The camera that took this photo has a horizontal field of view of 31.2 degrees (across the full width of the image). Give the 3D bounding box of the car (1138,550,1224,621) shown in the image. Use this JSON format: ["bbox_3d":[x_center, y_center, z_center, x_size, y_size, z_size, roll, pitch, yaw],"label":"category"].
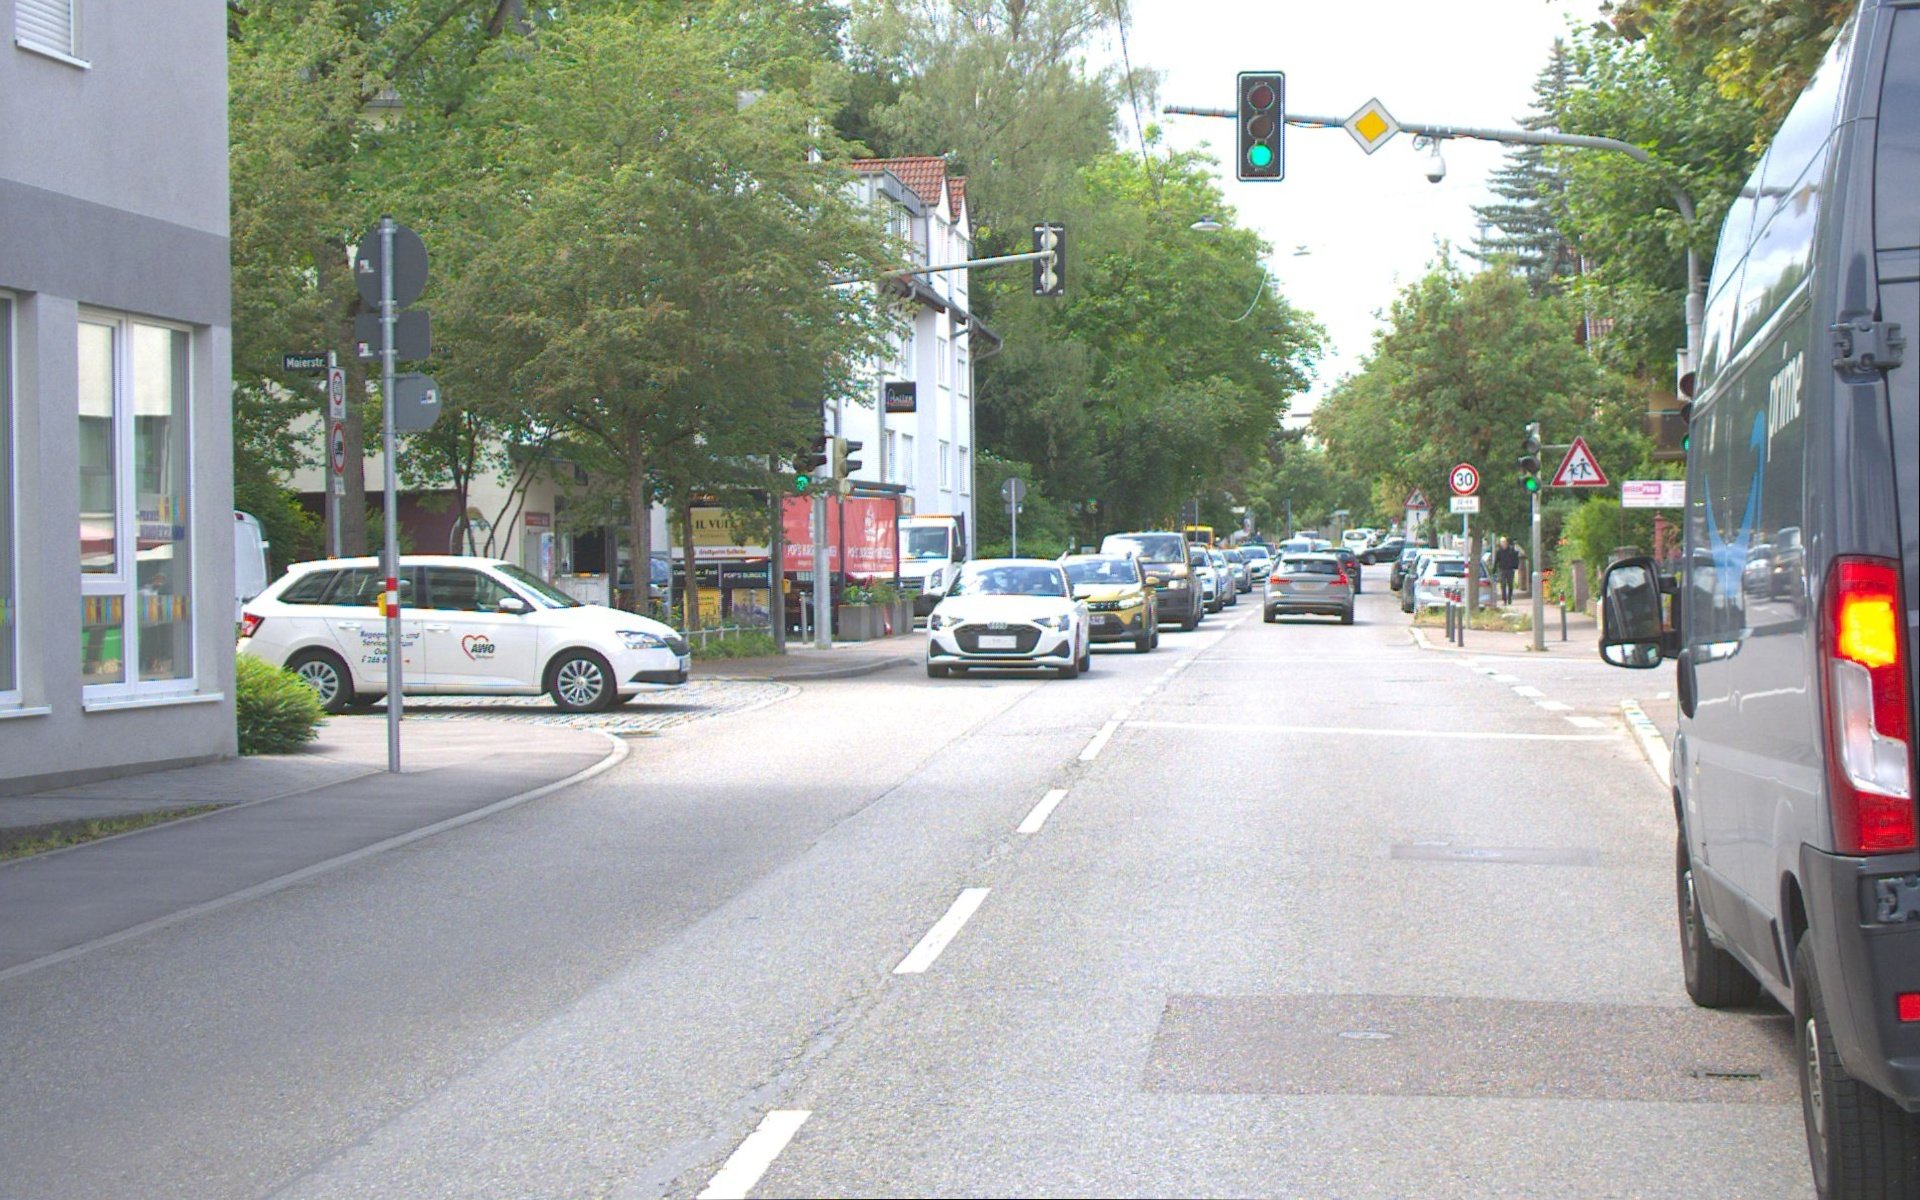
[{"bbox_3d":[5.317,-0.364,82.372,1.806,1.566,4.158,-2,1,7],"label":"car"}]

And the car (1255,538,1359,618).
[{"bbox_3d":[7.305,-0.486,72.129,1.976,1.508,4.266,3,2,7],"label":"car"}]

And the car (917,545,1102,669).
[{"bbox_3d":[0.650,0.051,41.864,1.874,1.419,4.114,0,1,6],"label":"car"}]

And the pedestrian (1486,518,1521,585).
[{"bbox_3d":[13.927,-1.252,88.121,0.880,1.706,0.842,0,0,8],"label":"pedestrian"}]

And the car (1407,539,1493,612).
[{"bbox_3d":[10.647,-0.558,74.876,1.701,1.475,4.871,1,2,7],"label":"car"}]

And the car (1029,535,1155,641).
[{"bbox_3d":[2.072,-0.212,53.135,1.728,1.532,4.000,0,2,6],"label":"car"}]

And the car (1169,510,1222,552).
[{"bbox_3d":[11.585,-3.380,168.931,2.147,1.974,4.929,0,1,9],"label":"car"}]

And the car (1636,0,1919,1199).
[{"bbox_3d":[3.142,-0.030,9.623,2.148,2.761,6.247,0,1,8],"label":"car"}]

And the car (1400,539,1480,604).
[{"bbox_3d":[11.614,-0.720,83.378,1.734,1.424,4.882,3,2,7],"label":"car"}]

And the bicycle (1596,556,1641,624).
[{"bbox_3d":[11.316,-0.178,59.058,0.721,1.146,2.212,0,0,12],"label":"bicycle"}]

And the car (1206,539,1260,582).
[{"bbox_3d":[9.887,-1.455,124.492,1.760,1.434,3.969,-2,1,7],"label":"car"}]

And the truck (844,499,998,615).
[{"bbox_3d":[-0.775,-0.907,73.352,2.225,2.372,6.323,0,1,9],"label":"truck"}]

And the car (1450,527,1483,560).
[{"bbox_3d":[31.255,-3.493,212.141,1.994,2.007,3.999,0,1,8],"label":"car"}]

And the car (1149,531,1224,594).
[{"bbox_3d":[5.955,-1.005,89.920,1.728,1.497,4.375,-2,1,6],"label":"car"}]

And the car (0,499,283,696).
[{"bbox_3d":[-9.694,-0.053,36.273,4.621,2.002,2.095,0,1,4],"label":"car"}]

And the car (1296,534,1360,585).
[{"bbox_3d":[11.434,-1.268,106.747,1.816,1.495,4.266,1,2,8],"label":"car"}]

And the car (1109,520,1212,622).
[{"bbox_3d":[3.943,-0.590,66.966,1.877,1.906,4.751,0,1,5],"label":"car"}]

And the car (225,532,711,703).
[{"bbox_3d":[-4.587,0.138,32.413,4.213,1.508,1.822,0,2,6],"label":"car"}]

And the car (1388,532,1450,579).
[{"bbox_3d":[15.117,-1.498,113.421,1.802,1.440,4.886,2,2,6],"label":"car"}]

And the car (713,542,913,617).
[{"bbox_3d":[-2.810,-0.406,66.246,3.693,1.420,1.805,0,1,3],"label":"car"}]
